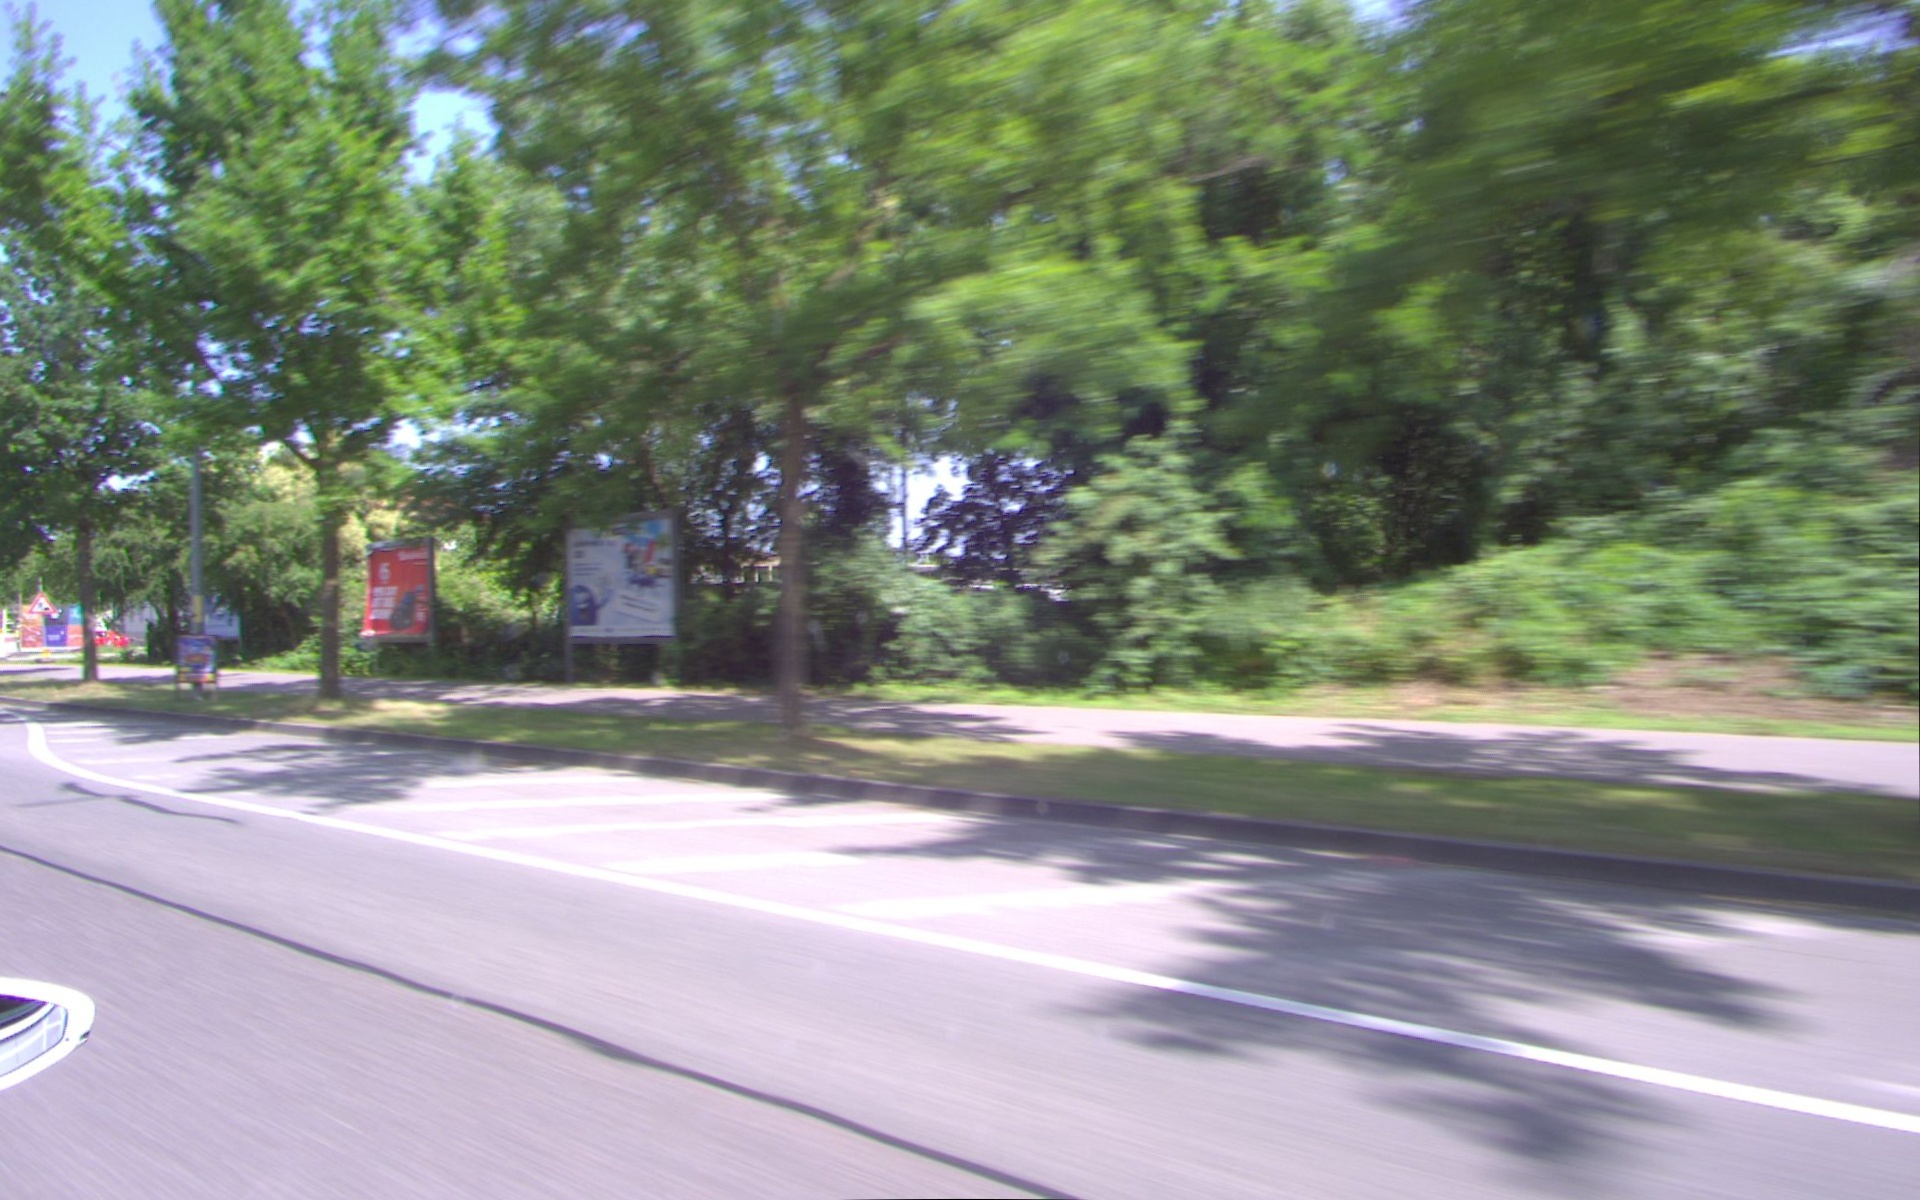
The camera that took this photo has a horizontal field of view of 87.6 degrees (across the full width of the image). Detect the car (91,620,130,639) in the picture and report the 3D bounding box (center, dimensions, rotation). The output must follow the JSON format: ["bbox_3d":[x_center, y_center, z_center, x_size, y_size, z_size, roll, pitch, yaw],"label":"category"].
[{"bbox_3d":[-55.976,1.944,65.975,3.262,1.203,1.374,-1,0,38],"label":"car"}]
